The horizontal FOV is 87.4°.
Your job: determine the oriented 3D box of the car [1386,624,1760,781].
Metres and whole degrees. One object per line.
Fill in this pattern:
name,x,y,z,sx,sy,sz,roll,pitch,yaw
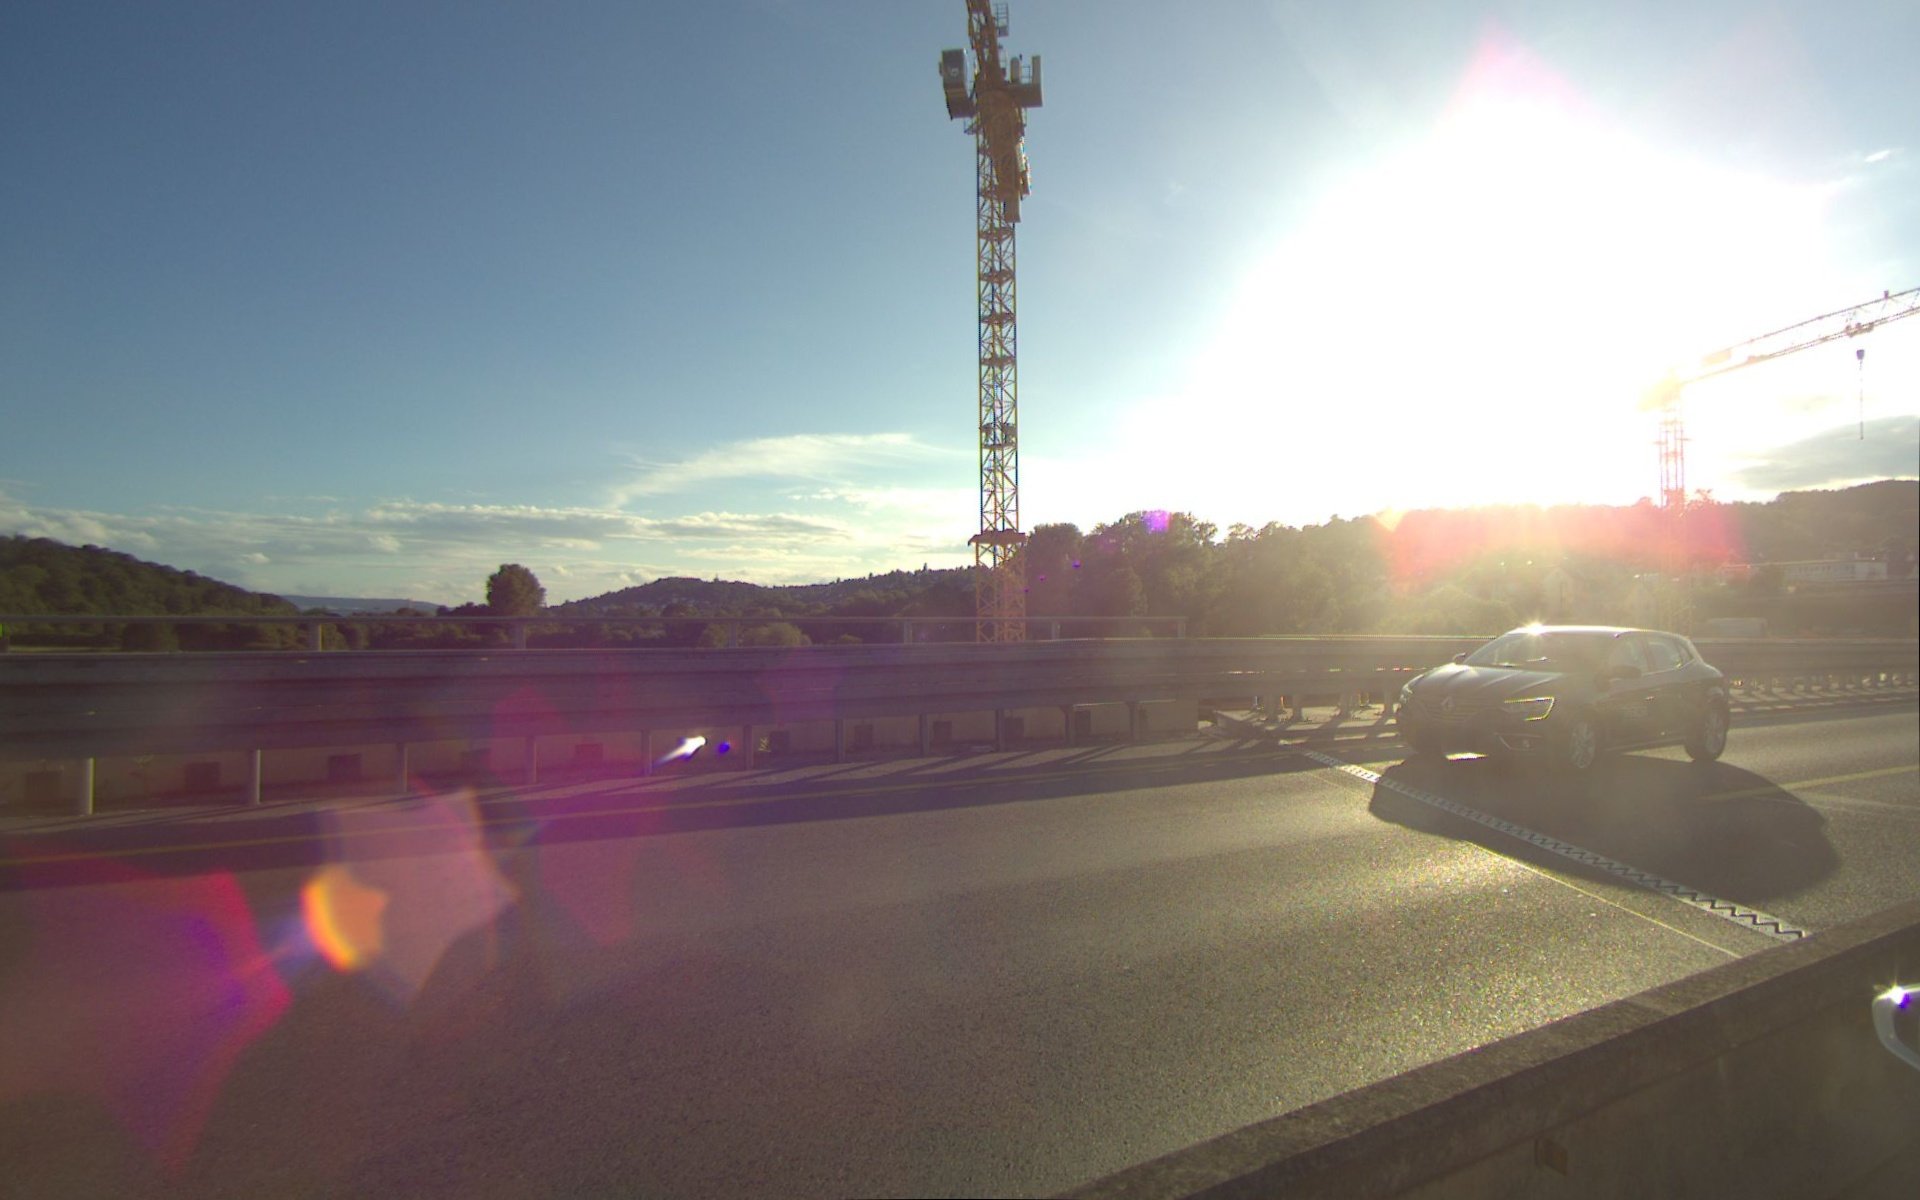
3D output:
car,6.899,1.009,11.211,4.258,1.423,1.767,1,0,-30
